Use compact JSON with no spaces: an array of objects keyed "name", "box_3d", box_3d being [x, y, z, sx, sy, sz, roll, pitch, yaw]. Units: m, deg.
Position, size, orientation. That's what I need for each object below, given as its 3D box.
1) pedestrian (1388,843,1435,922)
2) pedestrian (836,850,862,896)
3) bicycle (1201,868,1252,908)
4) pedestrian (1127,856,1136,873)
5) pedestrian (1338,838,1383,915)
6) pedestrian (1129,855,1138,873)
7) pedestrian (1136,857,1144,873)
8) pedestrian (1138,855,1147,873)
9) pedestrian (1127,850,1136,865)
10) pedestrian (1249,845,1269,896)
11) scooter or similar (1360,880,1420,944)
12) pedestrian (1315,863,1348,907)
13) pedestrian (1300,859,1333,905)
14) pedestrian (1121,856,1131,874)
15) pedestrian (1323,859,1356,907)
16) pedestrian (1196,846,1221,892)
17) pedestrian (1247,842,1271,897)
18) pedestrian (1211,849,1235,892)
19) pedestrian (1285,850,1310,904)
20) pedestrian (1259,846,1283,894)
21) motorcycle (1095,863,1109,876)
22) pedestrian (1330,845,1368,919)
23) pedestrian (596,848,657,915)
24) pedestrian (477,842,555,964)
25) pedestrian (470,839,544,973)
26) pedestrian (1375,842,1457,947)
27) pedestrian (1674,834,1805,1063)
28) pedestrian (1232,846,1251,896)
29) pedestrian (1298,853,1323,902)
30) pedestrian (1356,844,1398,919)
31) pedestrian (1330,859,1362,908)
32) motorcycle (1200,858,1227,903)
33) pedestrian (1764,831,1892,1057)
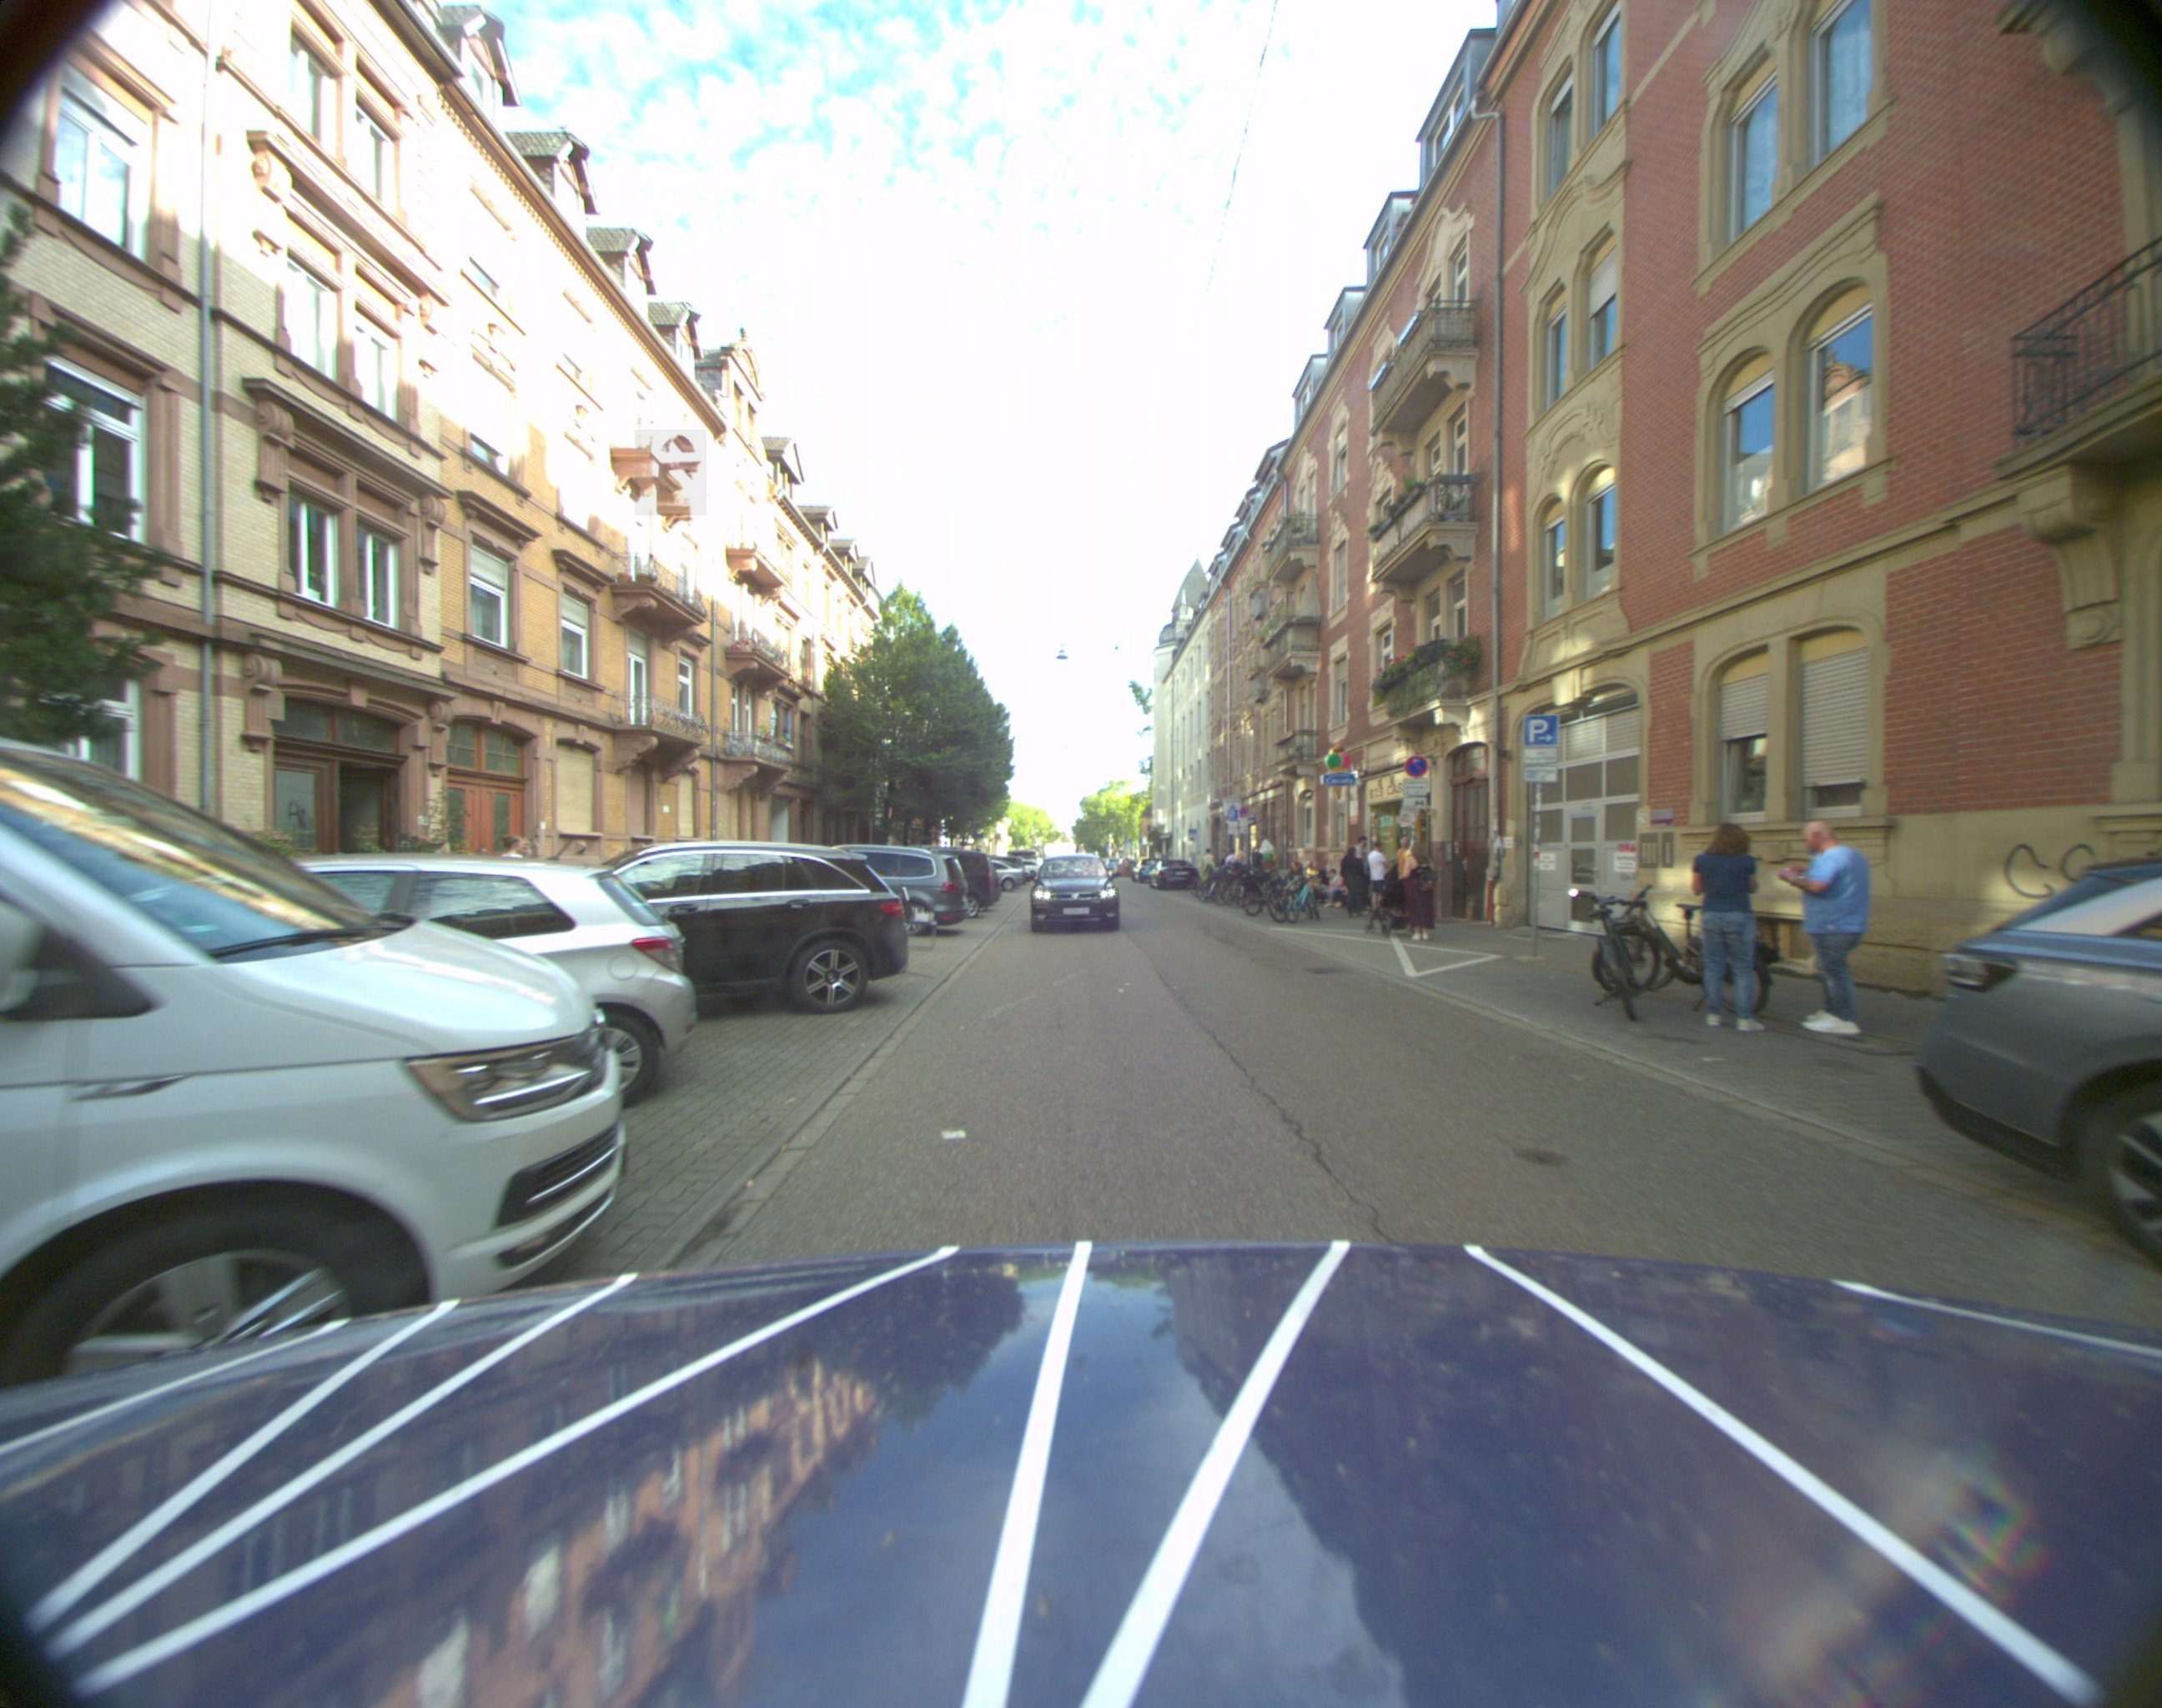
[{"name":"pedestrian","box_3d":[7.260,0.605,16.729,0.665,1.686,0.763,-1,1,-1]},{"name":"pedestrian","box_3d":[-8.444,0.668,27.658,0.733,1.625,0.833,1,1,-4]},{"name":"bicycle","box_3d":[4.378,0.997,22.812,1.573,1.114,0.589,-2,1,-37]},{"name":"pedestrian","box_3d":[4.049,0.805,60.679,0.668,1.328,0.740,-1,1,6]},{"name":"pedestrian","box_3d":[6.909,0.546,18.781,0.764,1.843,0.664,-2,1,-32]},{"name":"pedestrian","box_3d":[4.082,0.806,59.304,0.689,1.365,0.739,-1,1,3]},{"name":"pedestrian","box_3d":[4.673,0.863,60.584,0.597,1.236,0.694,-1,1,6]},{"name":"pedestrian","box_3d":[4.770,0.803,59.213,0.637,1.364,0.684,-1,1,3]},{"name":"pedestrian","box_3d":[5.836,0.436,87.927,0.845,1.699,0.879,-1,1,-1]},{"name":"pedestrian","box_3d":[6.189,0.568,26.468,0.605,1.741,0.726,-1,1,9]},{"name":"scooter or similar","box_3d":[5.461,1.009,13.479,0.607,1.049,0.921,-2,0,-6]},{"name":"pedestrian","box_3d":[7.075,0.859,21.461,0.710,1.189,0.586,-1,1,-5]},{"name":"pedestrian","box_3d":[6.846,0.794,22.132,0.725,1.306,0.606,-1,1,-5]},{"name":"pedestrian","box_3d":[3.523,0.874,59.873,0.739,1.341,0.644,-1,1,1]},{"name":"pedestrian","box_3d":[7.116,0.793,20.940,0.719,1.306,0.439,-1,1,-5]},{"name":"pedestrian","box_3d":[5.180,0.601,30.848,0.761,1.808,0.667,-1,1,29]},{"name":"pedestrian","box_3d":[6.229,0.536,26.550,0.646,1.881,0.602,-1,1,29]},{"name":"pedestrian","box_3d":[5.842,0.682,31.254,0.761,1.749,0.667,-1,1,29]},{"name":"pedestrian","box_3d":[6.472,0.679,22.717,0.554,1.607,0.584,-1,1,-1]},{"name":"pedestrian","box_3d":[7.011,0.582,28.067,0.688,1.749,0.667,-1,1,29]},{"name":"motorcycle","box_3d":[1.790,1.334,65.543,0.796,0.989,2.497,-2,0,-8]},{"name":"pedestrian","box_3d":[6.235,0.638,17.678,0.645,1.686,0.566,-1,1,44]},{"name":"pedestrian","box_3d":[-10.272,0.612,17.193,0.930,1.488,0.811,1,0,-8]},{"name":"pedestrian","box_3d":[-7.942,0.667,10.695,0.574,1.649,0.632,-1,1,-1]},{"name":"pedestrian","box_3d":[-7.613,0.657,10.078,0.649,1.685,0.697,-2,1,-44]},{"name":"pedestrian","box_3d":[5.523,0.649,12.583,0.914,1.651,0.827,-2,1,-9]},{"name":"pedestrian","box_3d":[5.273,0.706,6.092,0.566,1.699,0.666,-2,1,-36]},{"name":"pedestrian","box_3d":[5.691,0.583,26.978,0.605,1.741,0.946,-1,1,11]},{"name":"pedestrian","box_3d":[7.019,0.701,23.243,0.605,1.461,0.726,-1,1,9]},{"name":"pedestrian","box_3d":[6.809,0.623,17.461,0.667,1.686,0.584,-2,1,-32]},{"name":"pedestrian","box_3d":[7.153,0.795,20.530,0.703,1.306,0.373,-1,1,-5]},{"name":"motorcycle","box_3d":[4.314,0.843,24.710,0.708,1.376,2.026,-1,0,13]},{"name":"pedestrian","box_3d":[5.867,0.657,5.972,0.683,1.651,0.550,-2,1,-31]}]
